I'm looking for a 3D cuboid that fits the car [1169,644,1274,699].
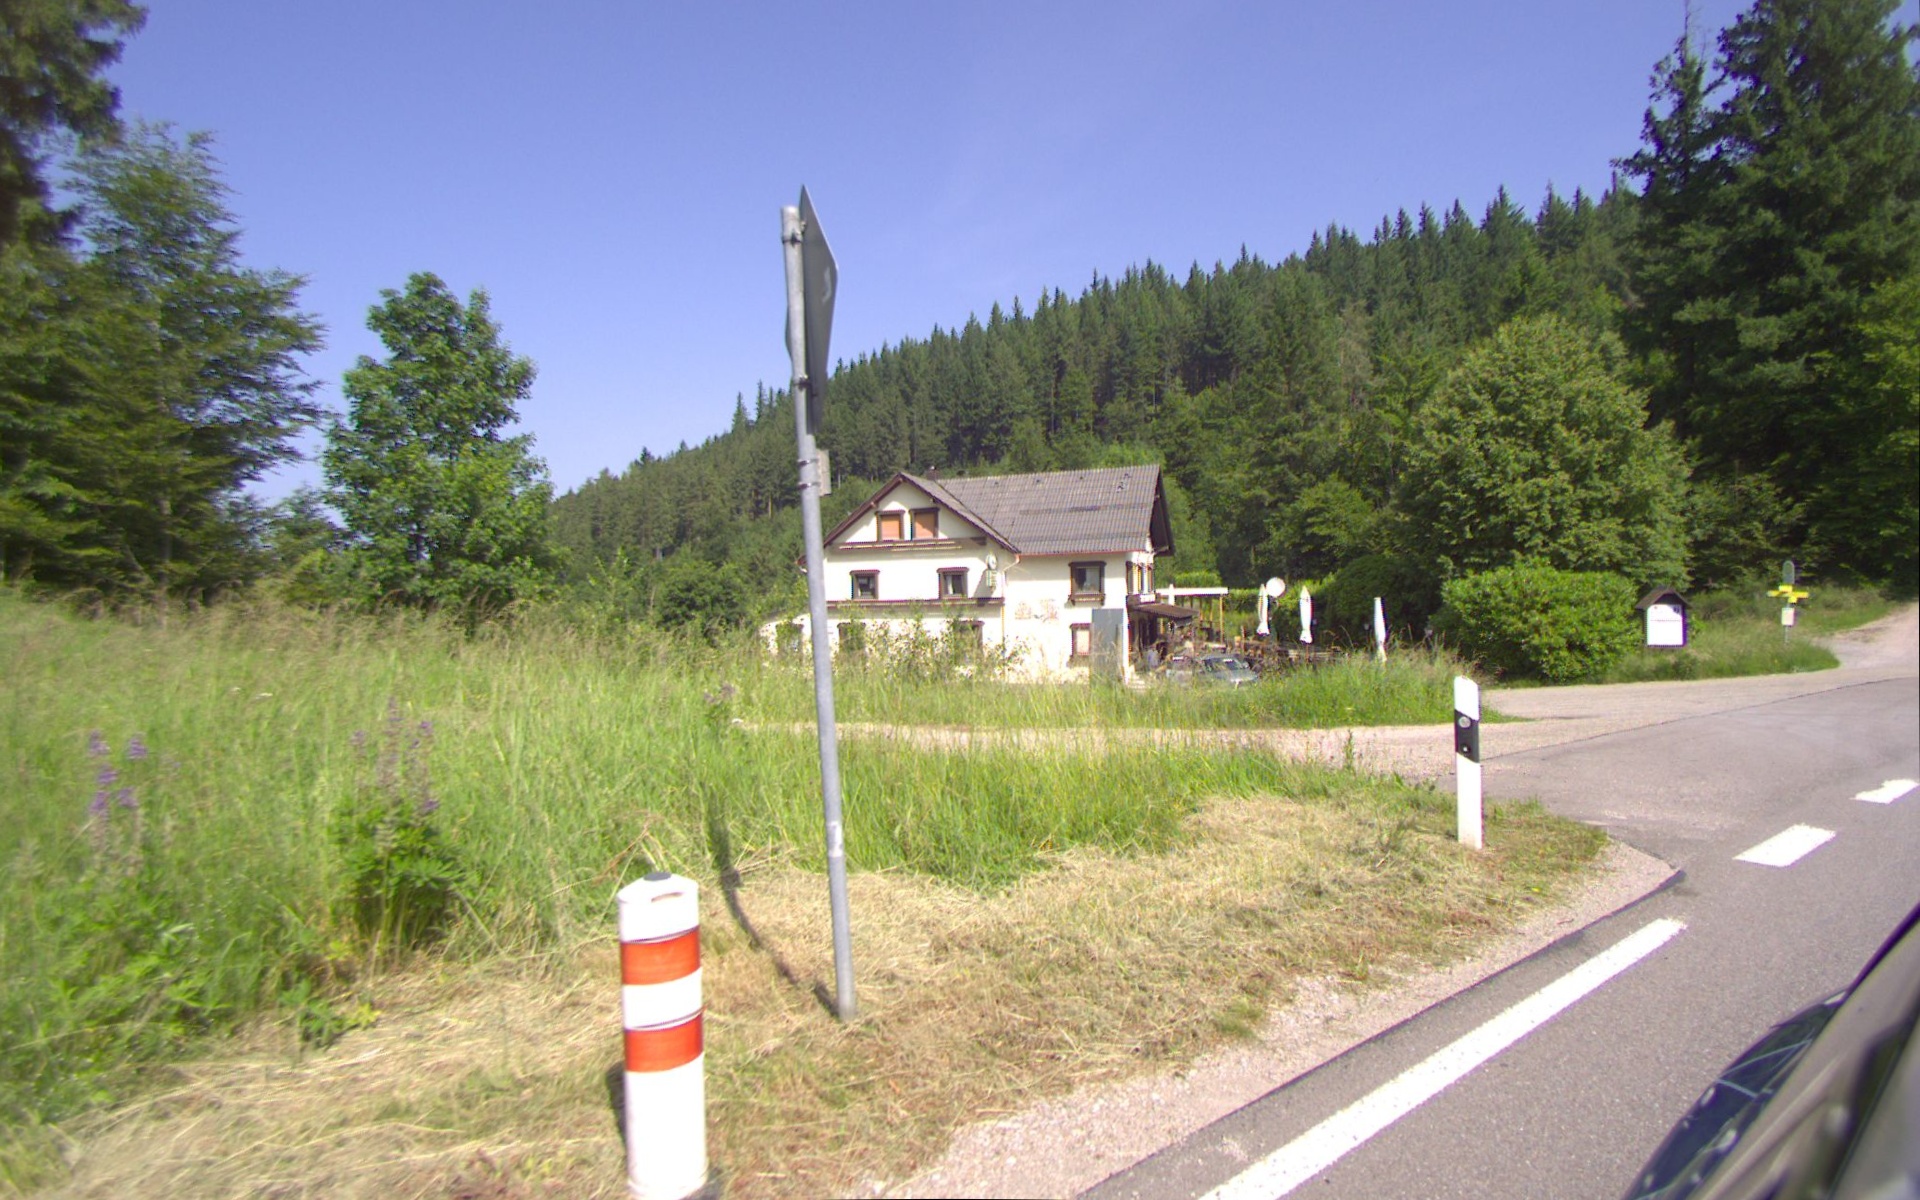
[{"bbox_3d":[9.656,2.608,37.772,1.938,1.642,4.485,-6,-1,-11],"label":"car"}]
